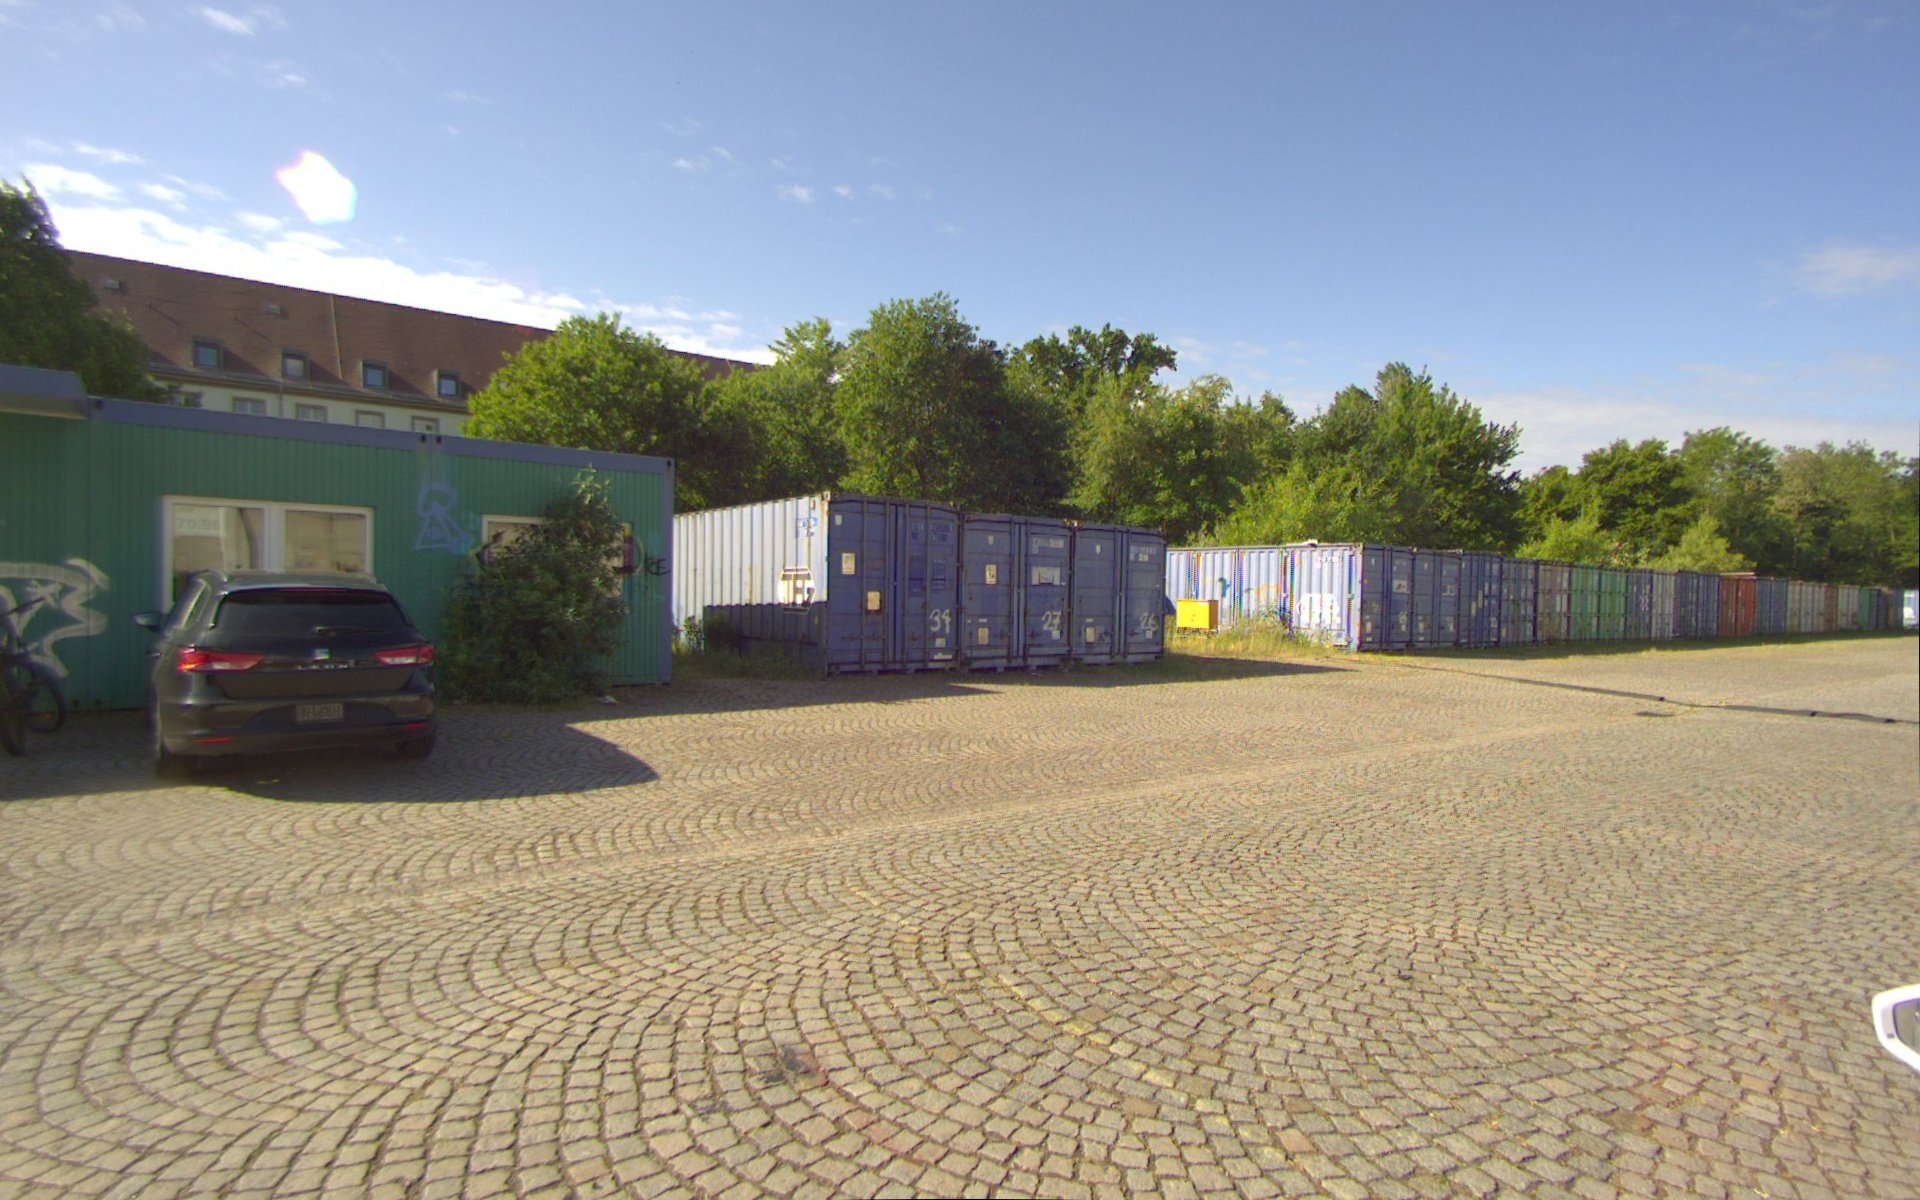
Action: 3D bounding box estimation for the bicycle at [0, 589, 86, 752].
[{"bbox_3d":[-7.474,0.509,7.980,0.667,1.116,1.695,0,3,-37],"label":"bicycle"}]

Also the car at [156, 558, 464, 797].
[{"bbox_3d":[-5.497,0.423,8.249,1.717,1.432,4.016,1,2,-39],"label":"car"}]
